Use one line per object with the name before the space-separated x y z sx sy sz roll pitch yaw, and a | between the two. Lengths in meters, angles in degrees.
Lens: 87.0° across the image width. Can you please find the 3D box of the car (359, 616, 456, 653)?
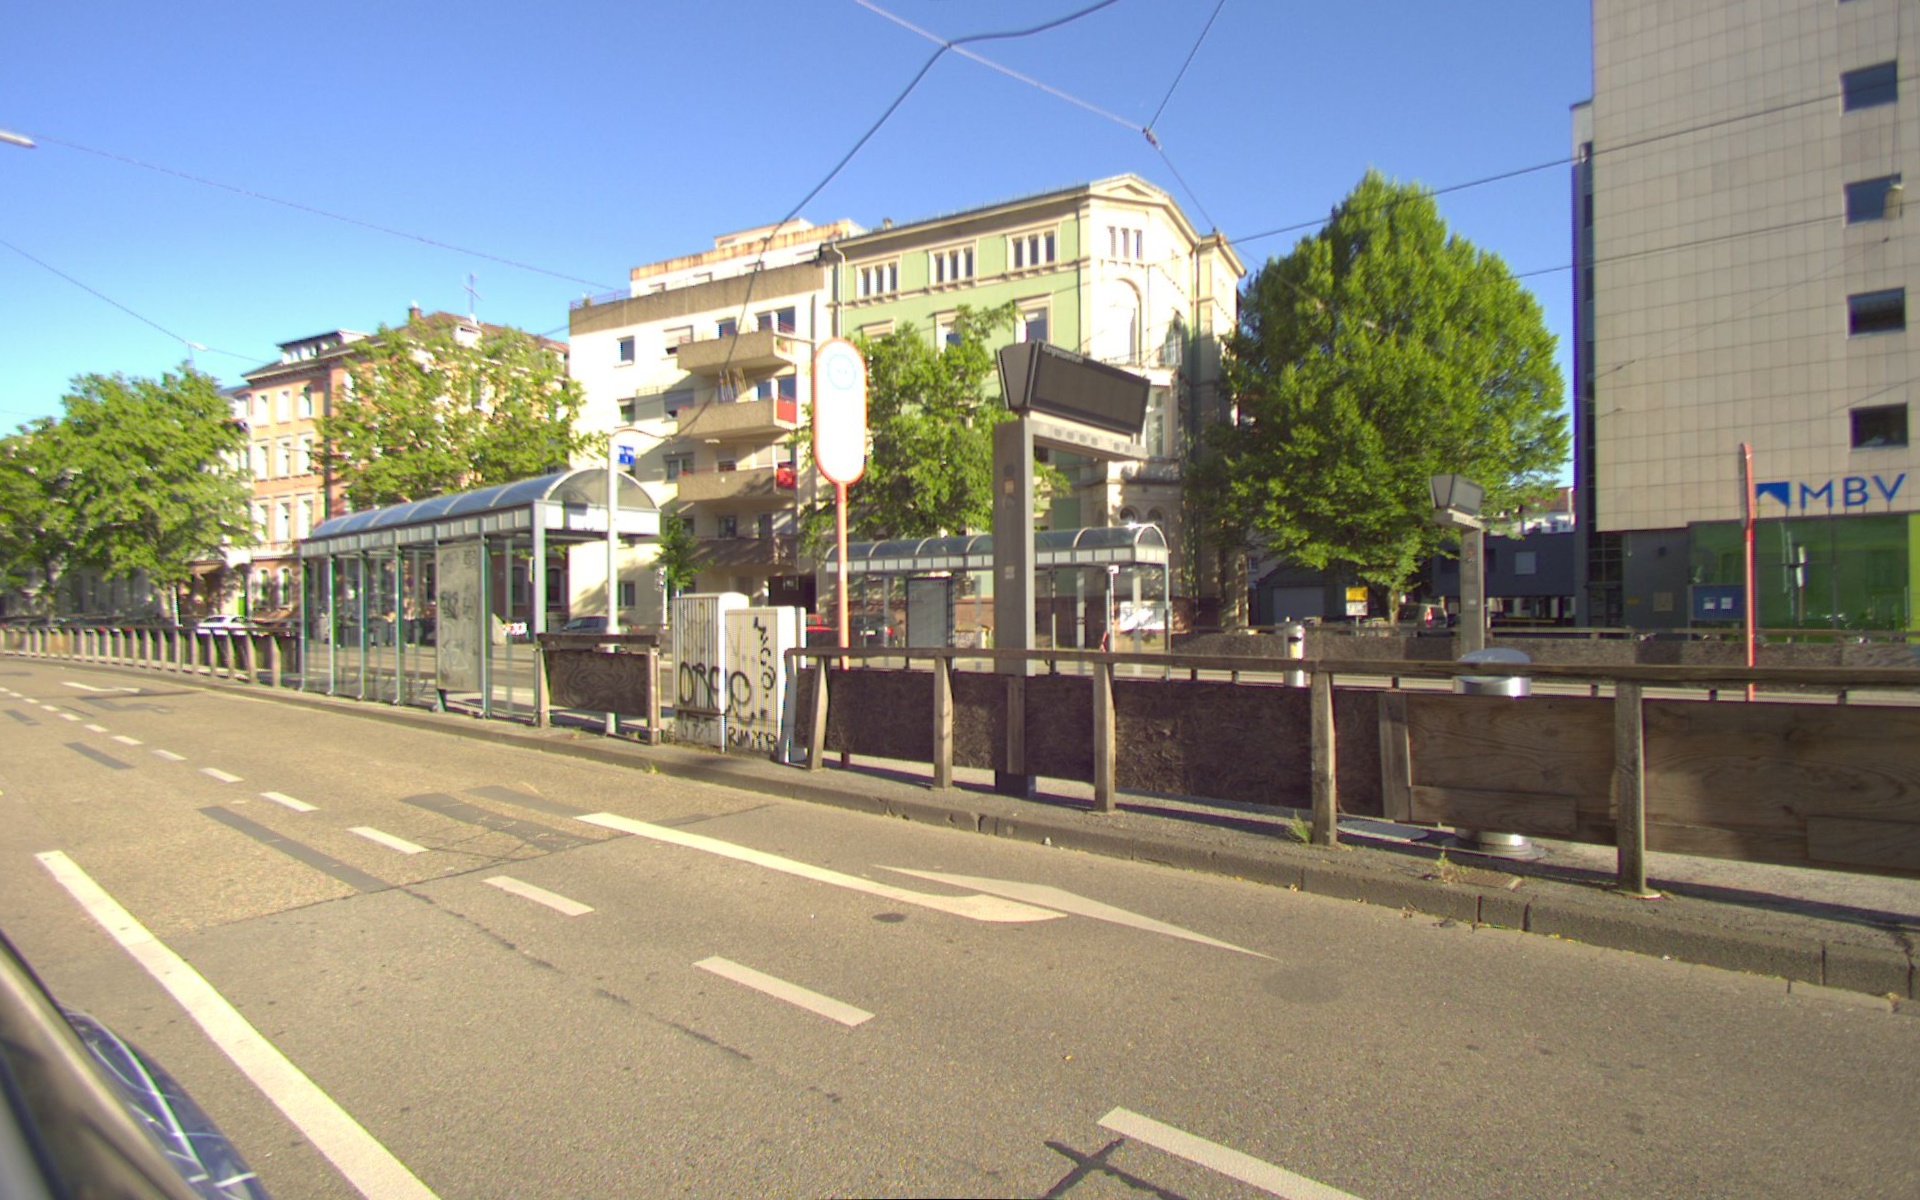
car | -23.836 1.473 43.644 3.987 1.541 1.978 -1 -2 32

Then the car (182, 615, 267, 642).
car | -39.212 1.509 54.056 1.565 1.360 3.631 0 -1 11

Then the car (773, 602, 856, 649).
car | -6.540 1.141 45.812 1.791 2.029 3.963 -1 -1 27

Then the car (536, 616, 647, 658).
car | -14.136 1.392 38.776 3.987 1.541 1.978 -1 -2 32
